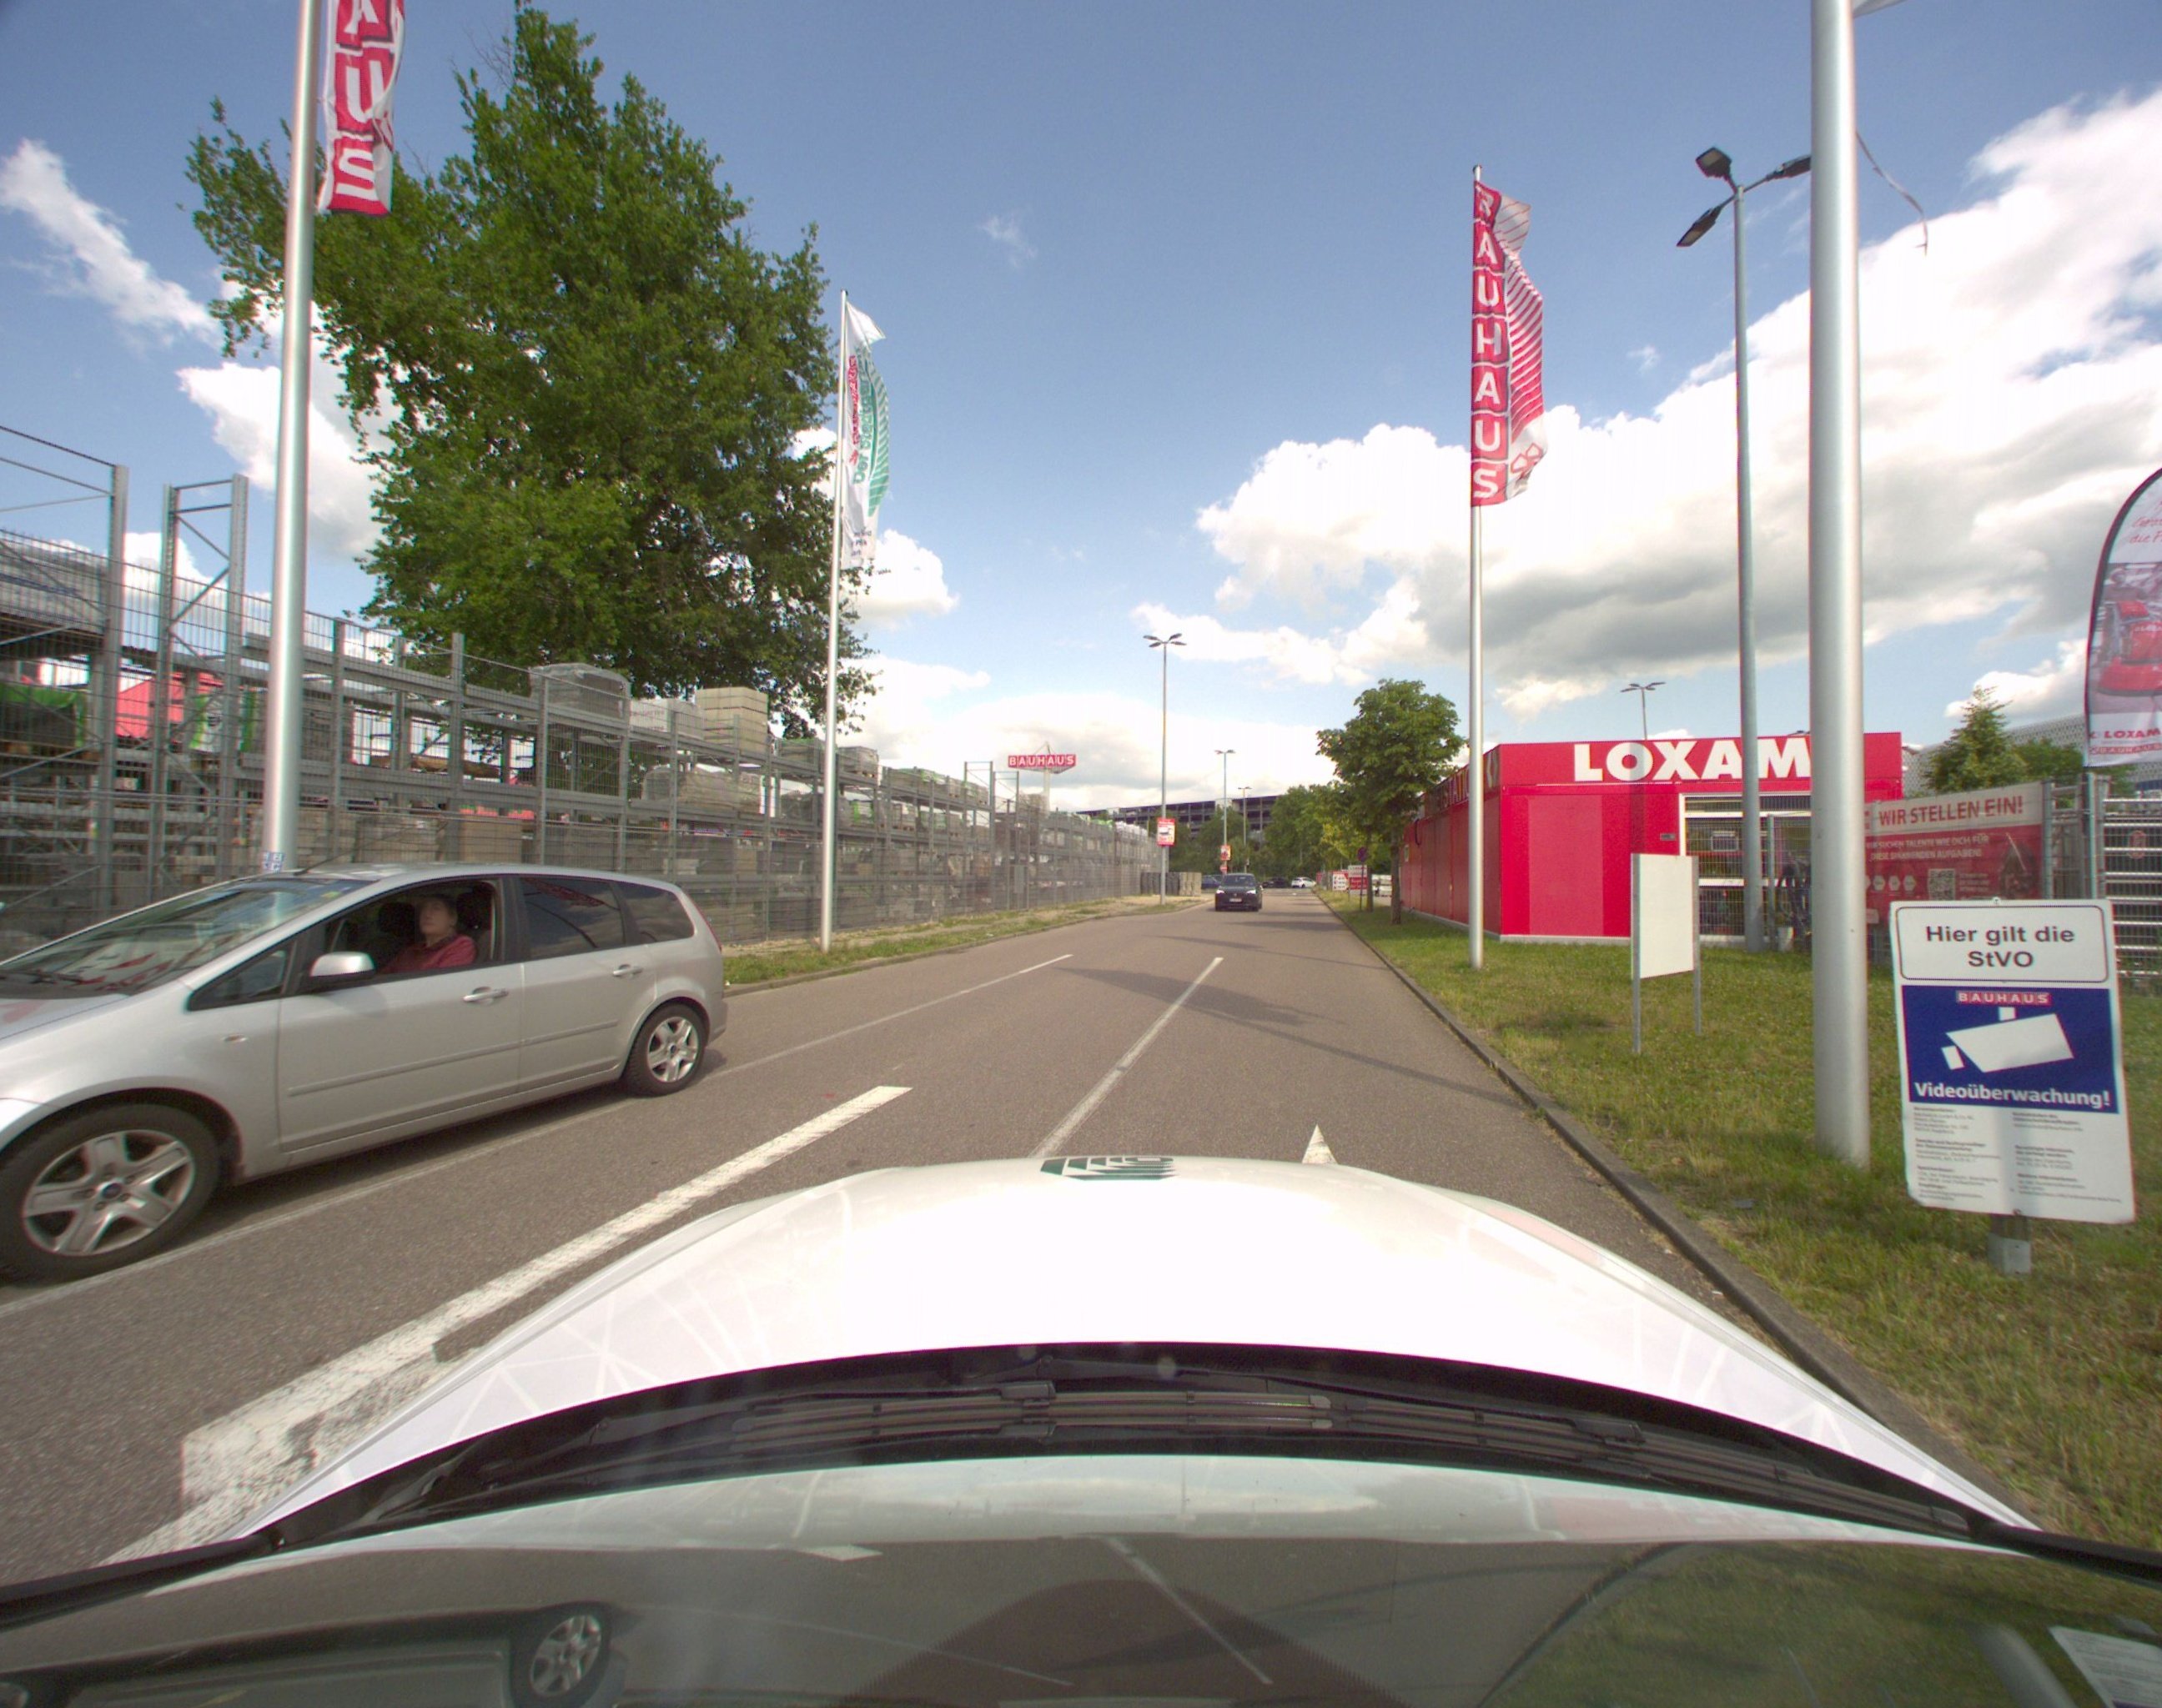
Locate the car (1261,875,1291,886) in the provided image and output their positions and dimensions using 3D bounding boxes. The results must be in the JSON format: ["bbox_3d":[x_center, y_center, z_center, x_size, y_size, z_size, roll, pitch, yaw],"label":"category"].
[{"bbox_3d":[26.050,3.570,108.853,4.265,1.410,1.713,2,-2,-41],"label":"car"}]

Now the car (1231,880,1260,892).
[{"bbox_3d":[22.752,4.432,112.573,4.101,1.510,1.670,1,-8,-38],"label":"car"}]

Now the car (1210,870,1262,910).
[{"bbox_3d":[6.979,1.559,36.306,1.901,1.618,4.391,-1,-1,16],"label":"car"}]

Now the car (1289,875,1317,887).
[{"bbox_3d":[28.773,3.494,105.523,3.573,1.412,1.651,1,-2,-37],"label":"car"}]

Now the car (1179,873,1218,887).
[{"bbox_3d":[12.146,2.666,84.150,3.723,1.368,1.627,0,-2,14],"label":"car"}]

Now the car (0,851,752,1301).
[{"bbox_3d":[-4.062,0.815,4.586,1.703,1.564,4.229,0,-2,19],"label":"car"}]

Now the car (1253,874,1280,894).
[{"bbox_3d":[13.835,2.221,60.950,1.792,1.465,4.341,0,-1,10],"label":"car"}]
